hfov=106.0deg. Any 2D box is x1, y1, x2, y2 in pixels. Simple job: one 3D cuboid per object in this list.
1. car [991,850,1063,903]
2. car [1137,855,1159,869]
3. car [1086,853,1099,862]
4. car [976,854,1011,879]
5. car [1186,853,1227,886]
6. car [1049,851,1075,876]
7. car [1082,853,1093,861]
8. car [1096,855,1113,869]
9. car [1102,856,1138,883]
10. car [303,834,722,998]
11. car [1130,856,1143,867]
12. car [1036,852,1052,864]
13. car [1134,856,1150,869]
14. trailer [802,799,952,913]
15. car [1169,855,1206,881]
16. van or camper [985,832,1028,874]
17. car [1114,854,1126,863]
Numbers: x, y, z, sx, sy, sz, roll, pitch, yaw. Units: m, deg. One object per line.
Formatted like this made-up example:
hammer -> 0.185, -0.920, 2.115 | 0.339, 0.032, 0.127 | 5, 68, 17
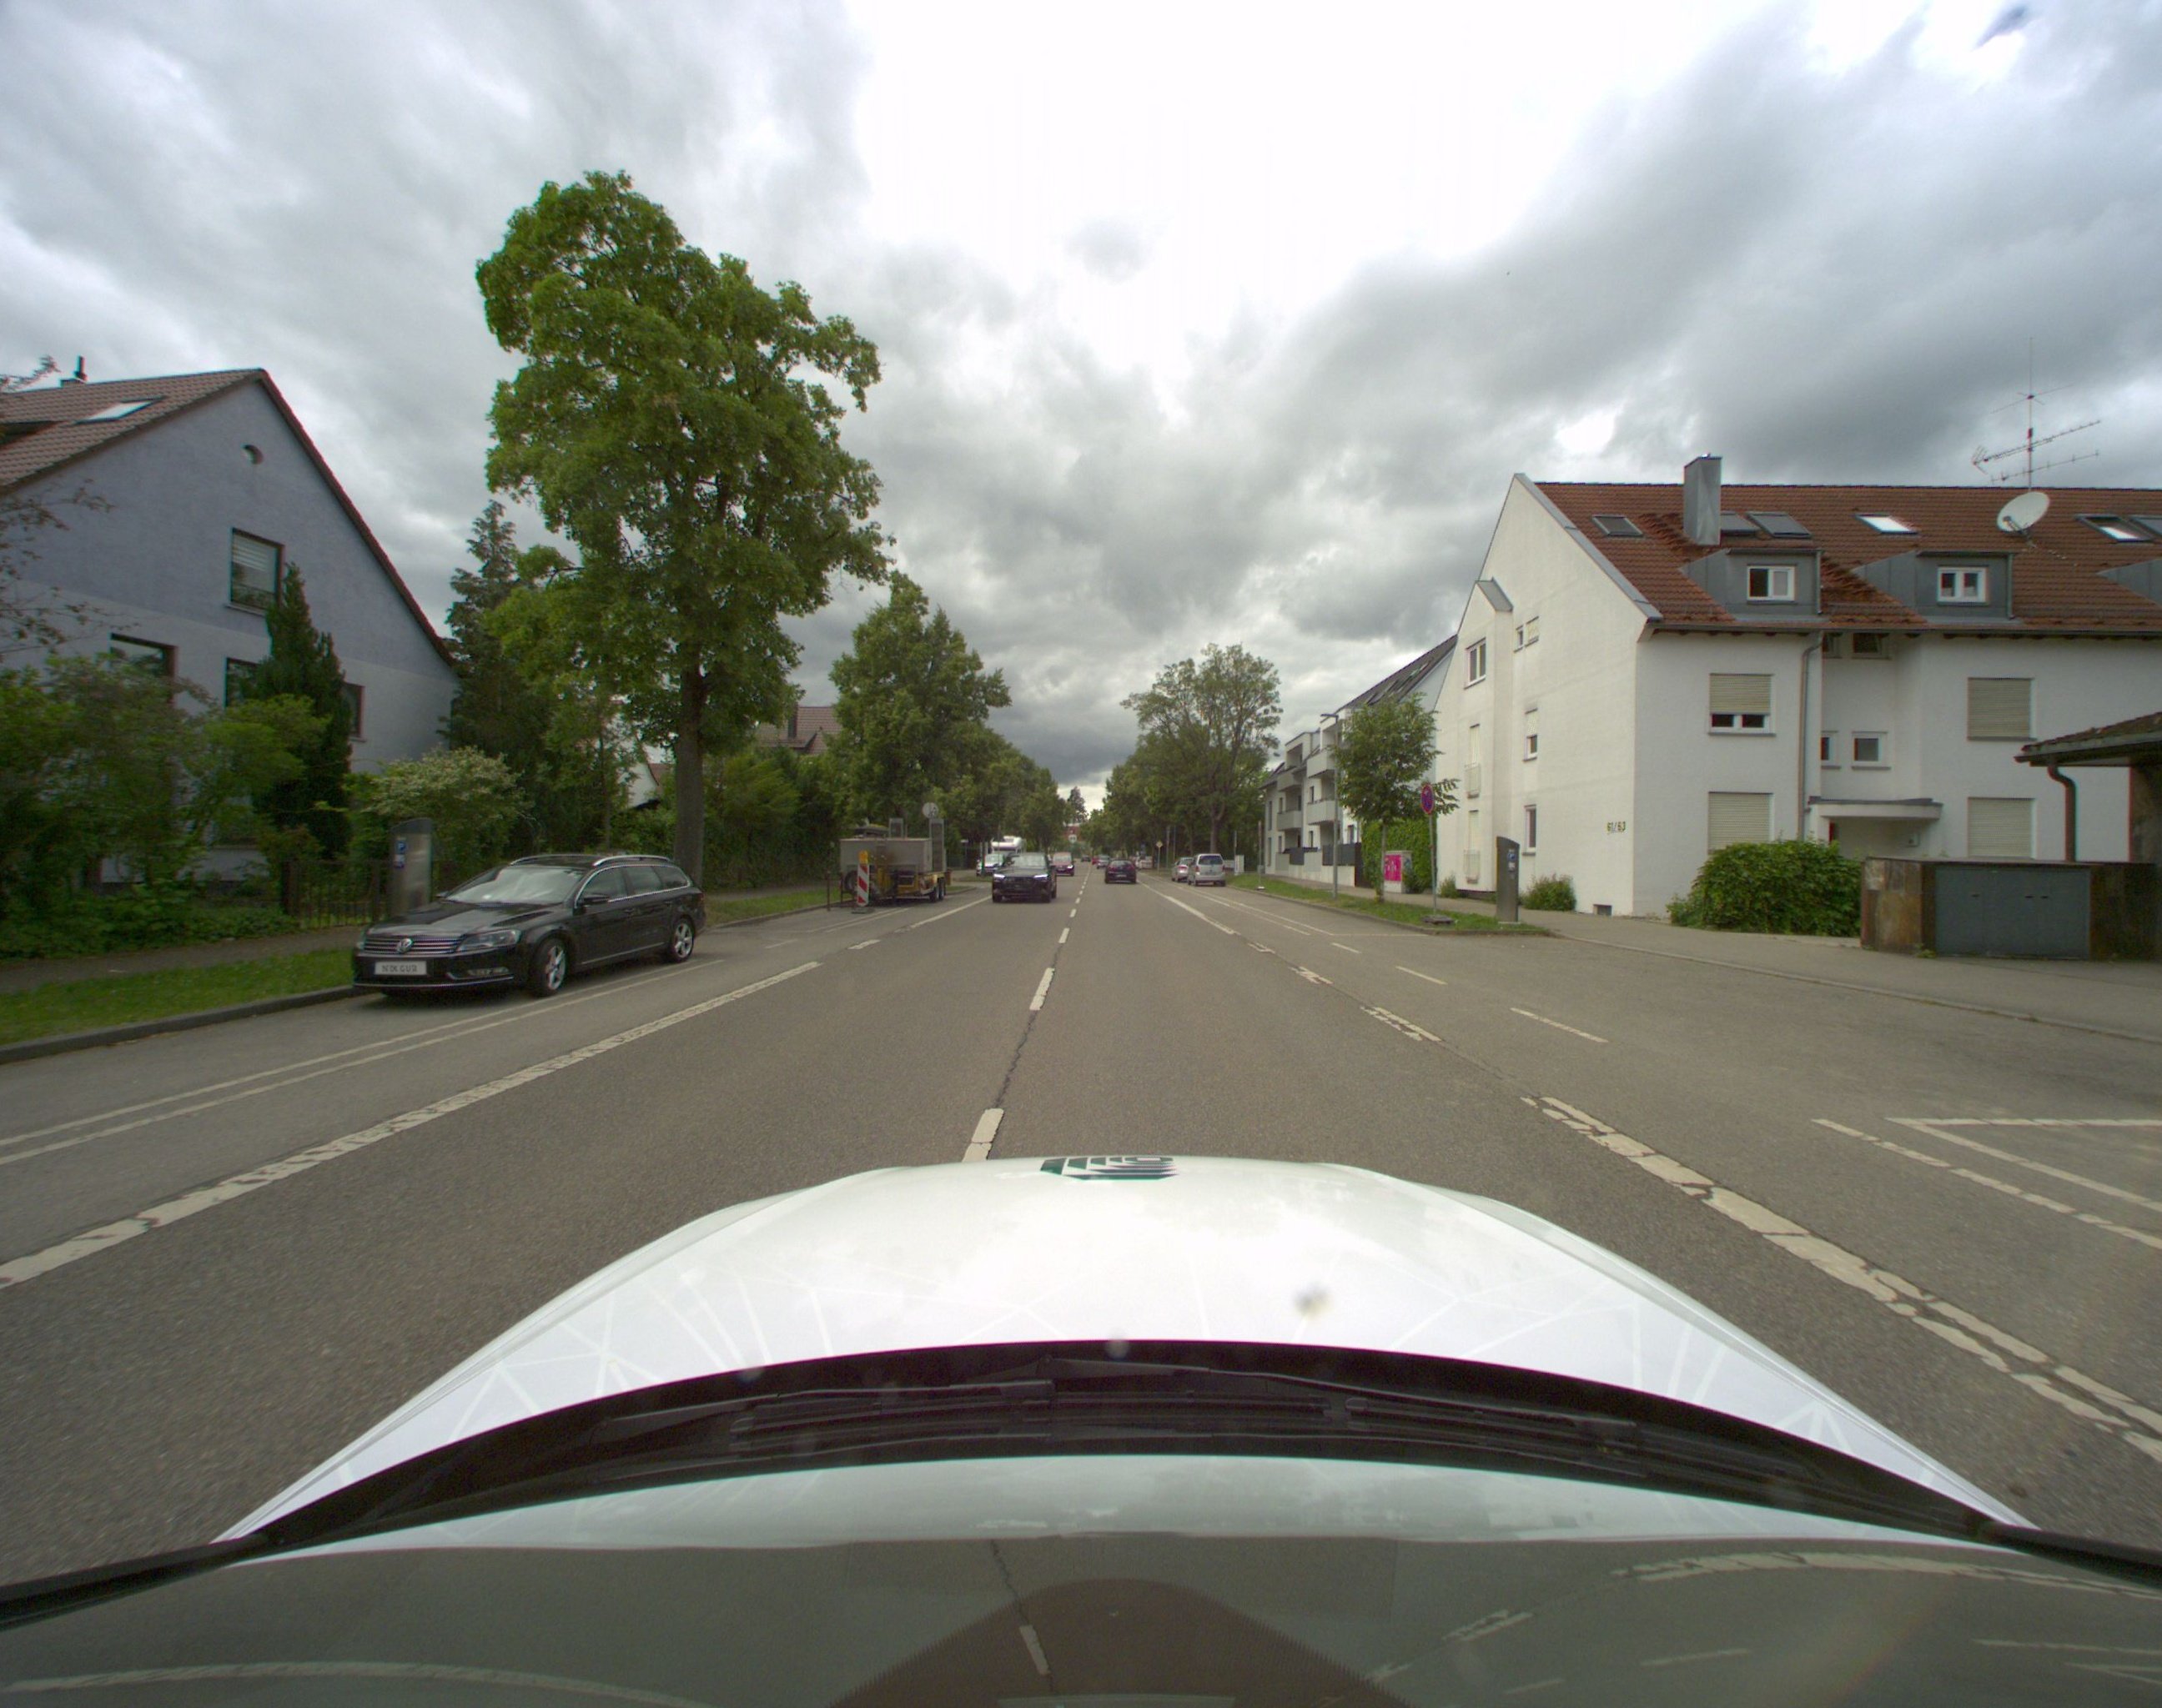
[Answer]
car -> -1.782, 0.720, 28.285 | 1.986, 1.668, 4.592 | -1, 0, 2
car -> 7.113, 0.835, 86.527 | 2.013, 1.443, 5.026 | 1, 0, 1
car -> 1.906, 0.573, 131.420 | 1.986, 1.530, 4.001 | 0, 0, 1
car -> -5.737, 0.800, 53.939 | 1.716, 1.600, 4.273 | 1, 0, 1
car -> 6.581, 0.776, 42.968 | 1.627, 1.665, 3.648 | 0, 0, 1
car -> -1.409, 0.698, 62.205 | 1.754, 1.803, 4.769 | 0, 0, 1
car -> 1.278, 0.596, 165.110 | 1.990, 1.508, 3.994 | 1, -1, -4
car -> 2.724, 0.937, 95.092 | 1.986, 1.558, 4.000 | 0, -1, 1
car -> 2.188, 0.850, 46.153 | 1.778, 1.449, 3.555 | 0, 0, -2
car -> -6.498, 0.669, 10.167 | 1.853, 1.553, 4.620 | 1, -2, 1
car -> 7.257, 0.987, 106.830 | 1.631, 1.420, 4.002 | 0, 0, 2
car -> -5.244, 0.598, 115.876 | 1.867, 1.688, 4.866 | 0, 0, 1
car -> 7.116, 0.937, 94.934 | 1.610, 1.460, 3.657 | 0, 0, 1
trailer -> -5.951, 0.106, 25.125 | 2.665, 2.941, 7.474 | 1, -1, 0
car -> 6.338, 0.816, 48.737 | 1.681, 1.493, 4.227 | 0, 0, 0
van or camper -> -5.666, -0.059, 62.690 | 2.426, 3.009, 7.694 | 0, 0, 1
car -> 6.824, 0.800, 141.842 | 1.680, 1.432, 4.038 | 0, 0, -4
